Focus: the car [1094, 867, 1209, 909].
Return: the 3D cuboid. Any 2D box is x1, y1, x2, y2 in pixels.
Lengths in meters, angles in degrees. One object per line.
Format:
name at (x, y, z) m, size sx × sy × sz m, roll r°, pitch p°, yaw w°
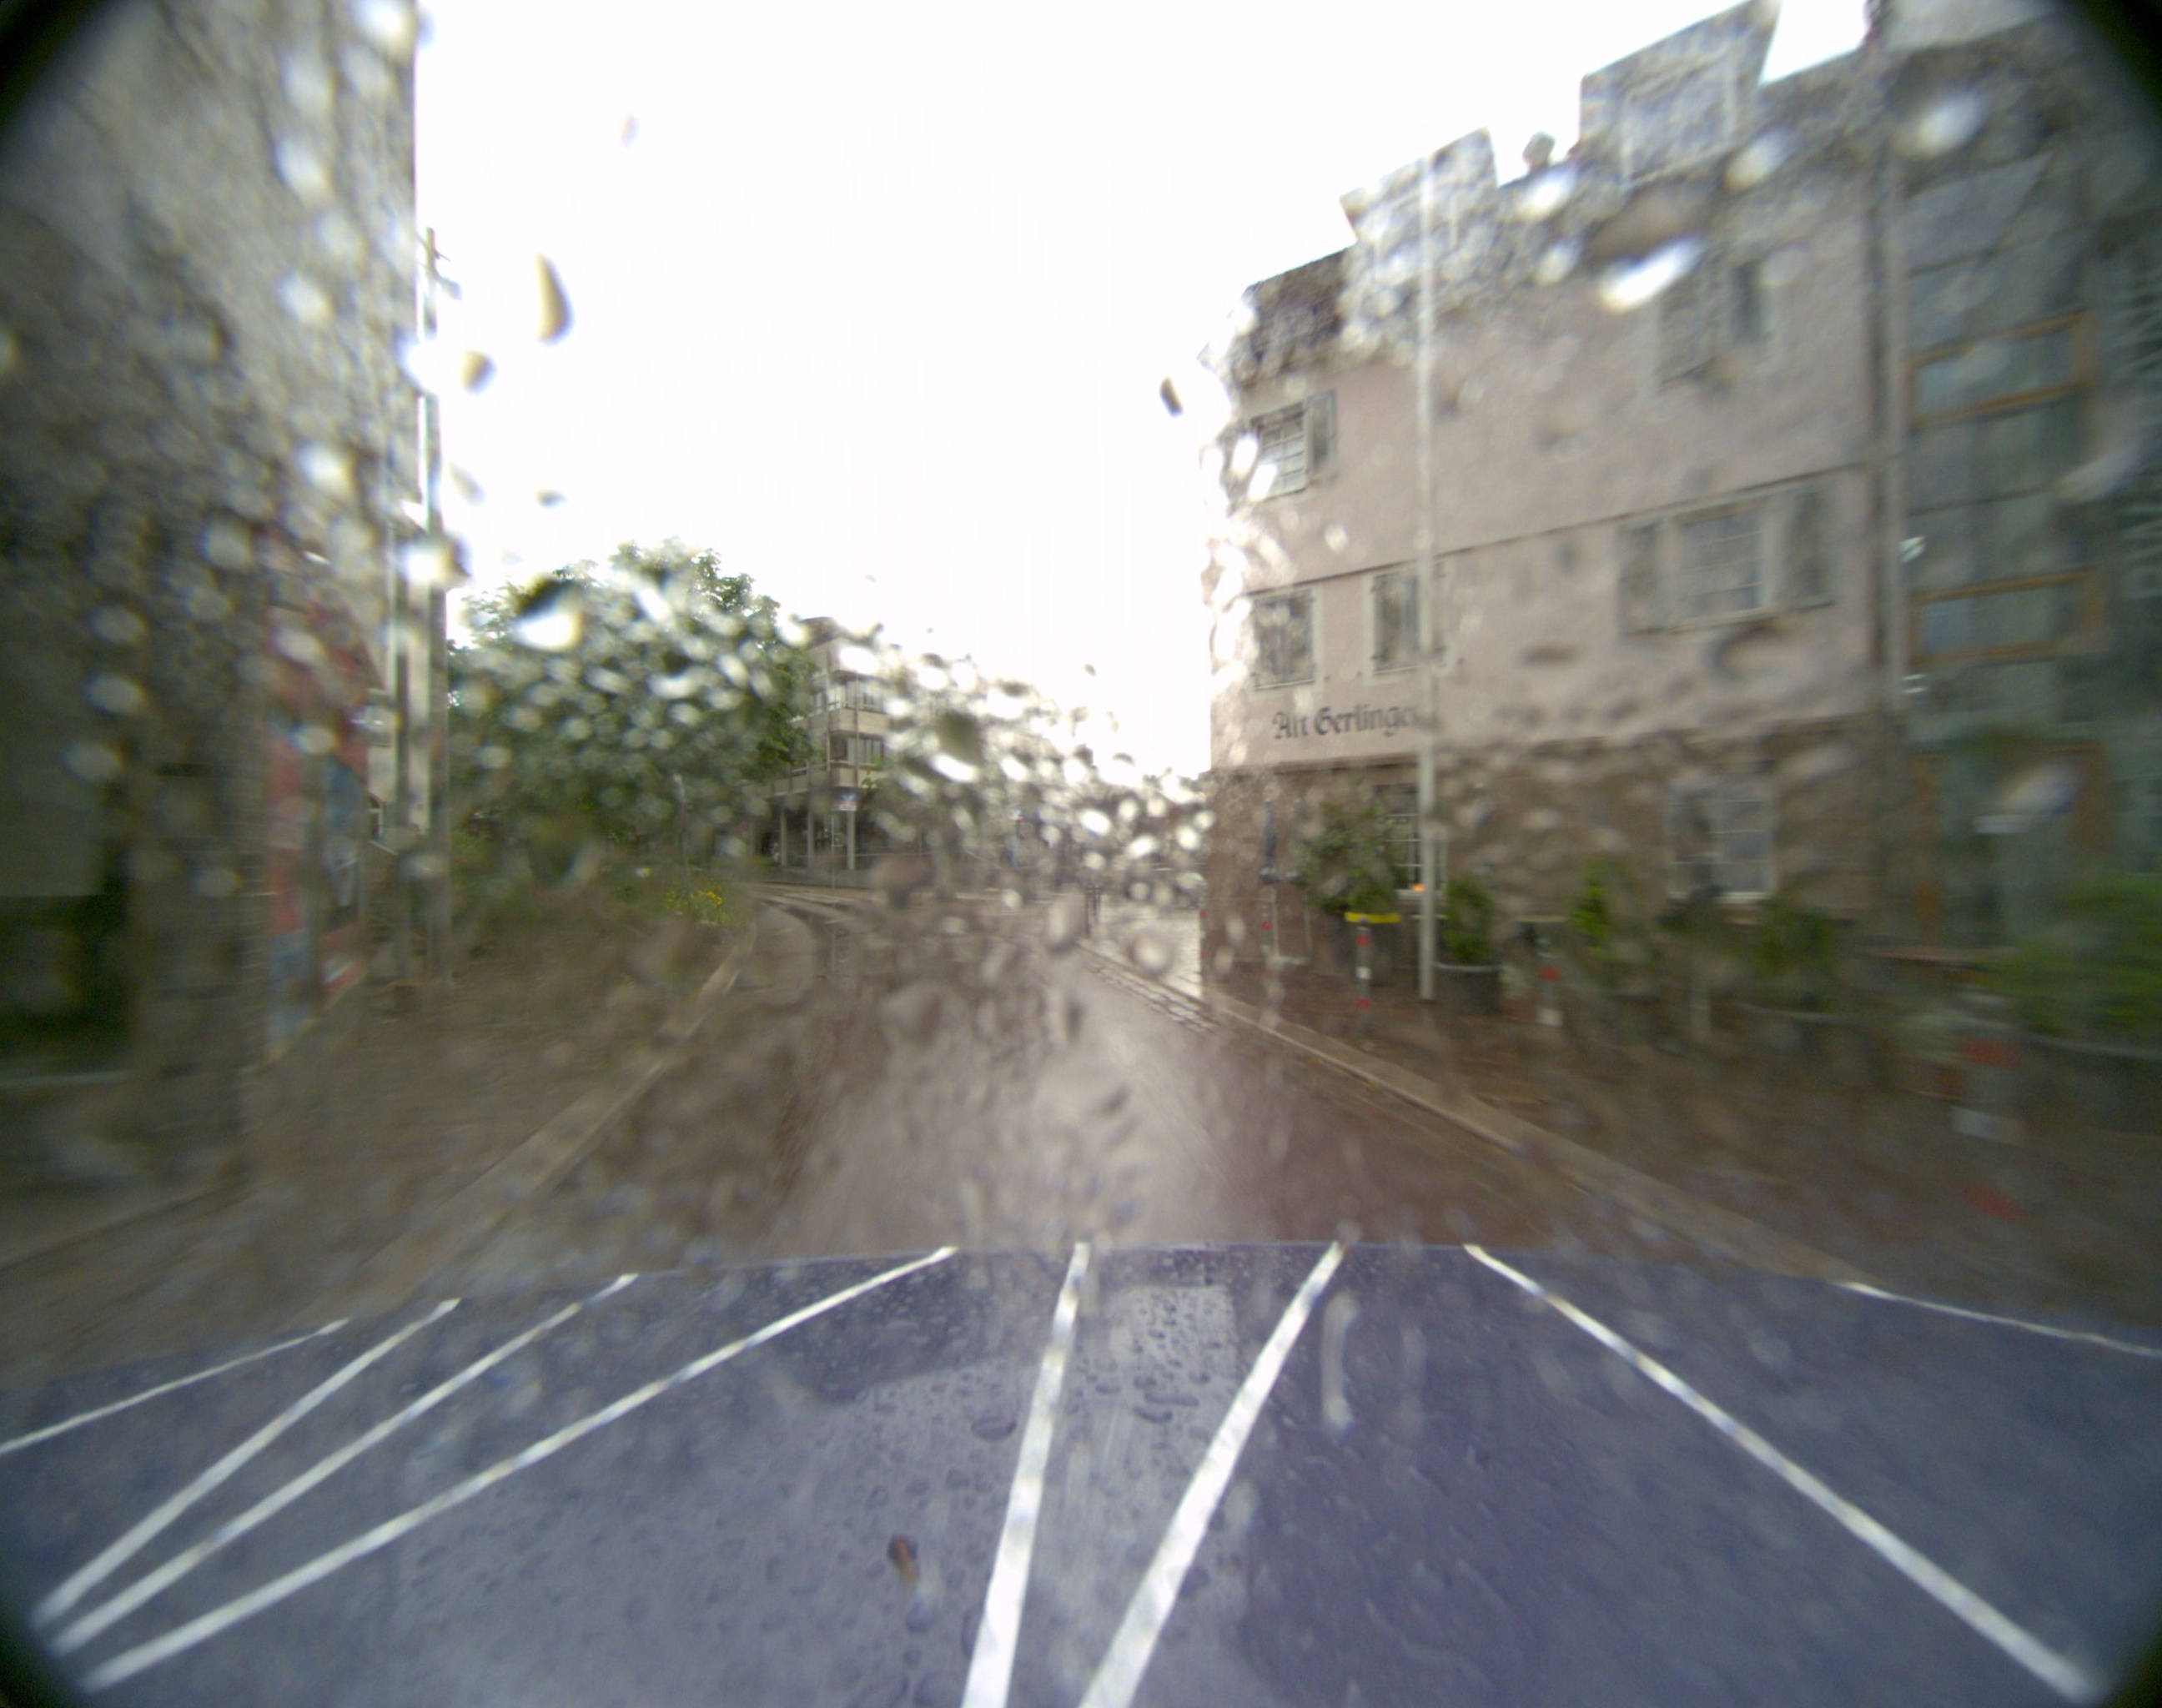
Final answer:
car at (2.714, 1.270, 29.414) m, size 3.989 × 1.409 × 1.879 m, roll 1°, pitch 0°, yaw 26°
